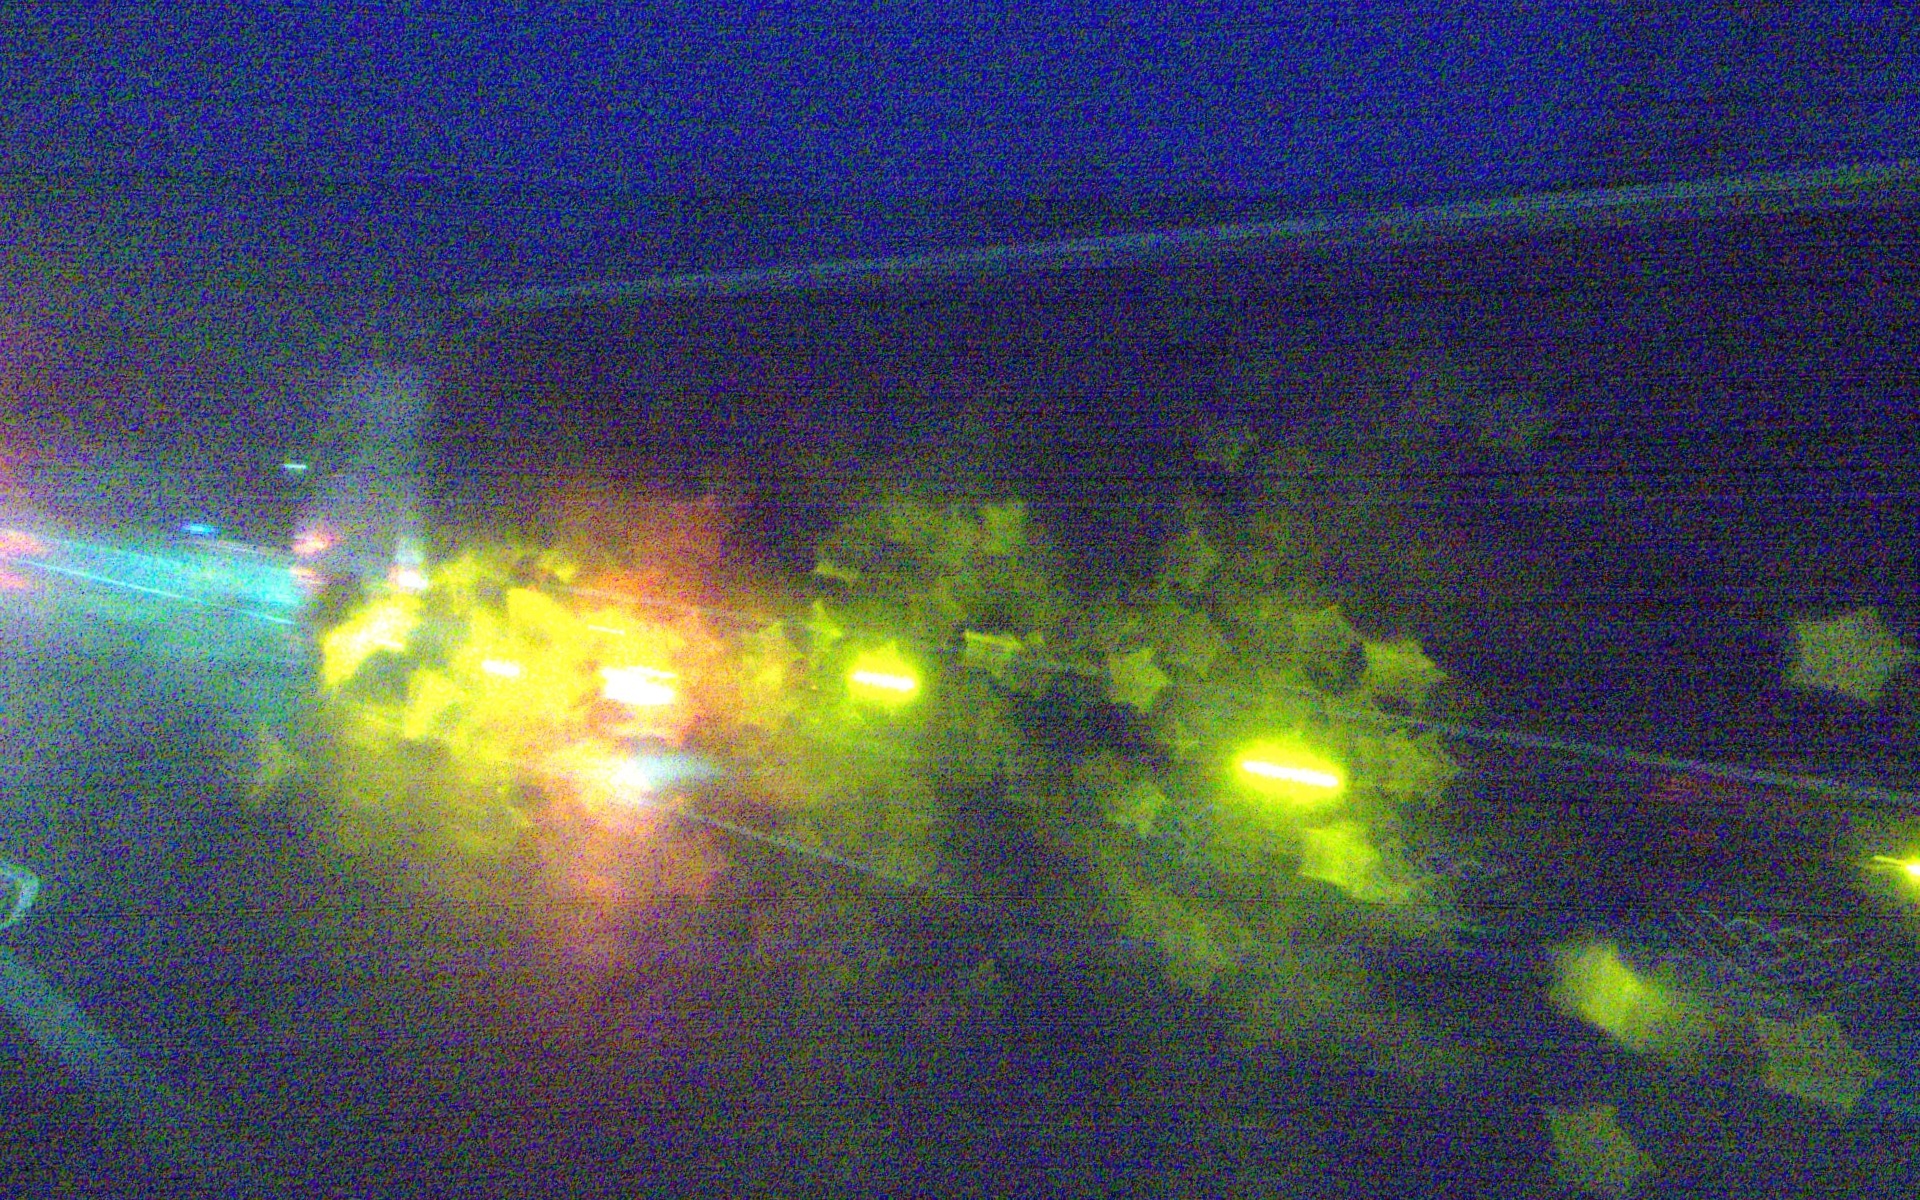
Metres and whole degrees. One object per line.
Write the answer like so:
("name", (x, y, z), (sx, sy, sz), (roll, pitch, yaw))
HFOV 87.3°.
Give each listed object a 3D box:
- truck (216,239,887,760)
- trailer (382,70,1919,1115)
("truck", (-4.654, -0.974, 10.989), (6.898, 4.150, 2.865), (7, -2, 32))
("trailer", (1.012, -0.328, 7.451), (13.417, 4.145, 2.870), (6, -2, 32))
